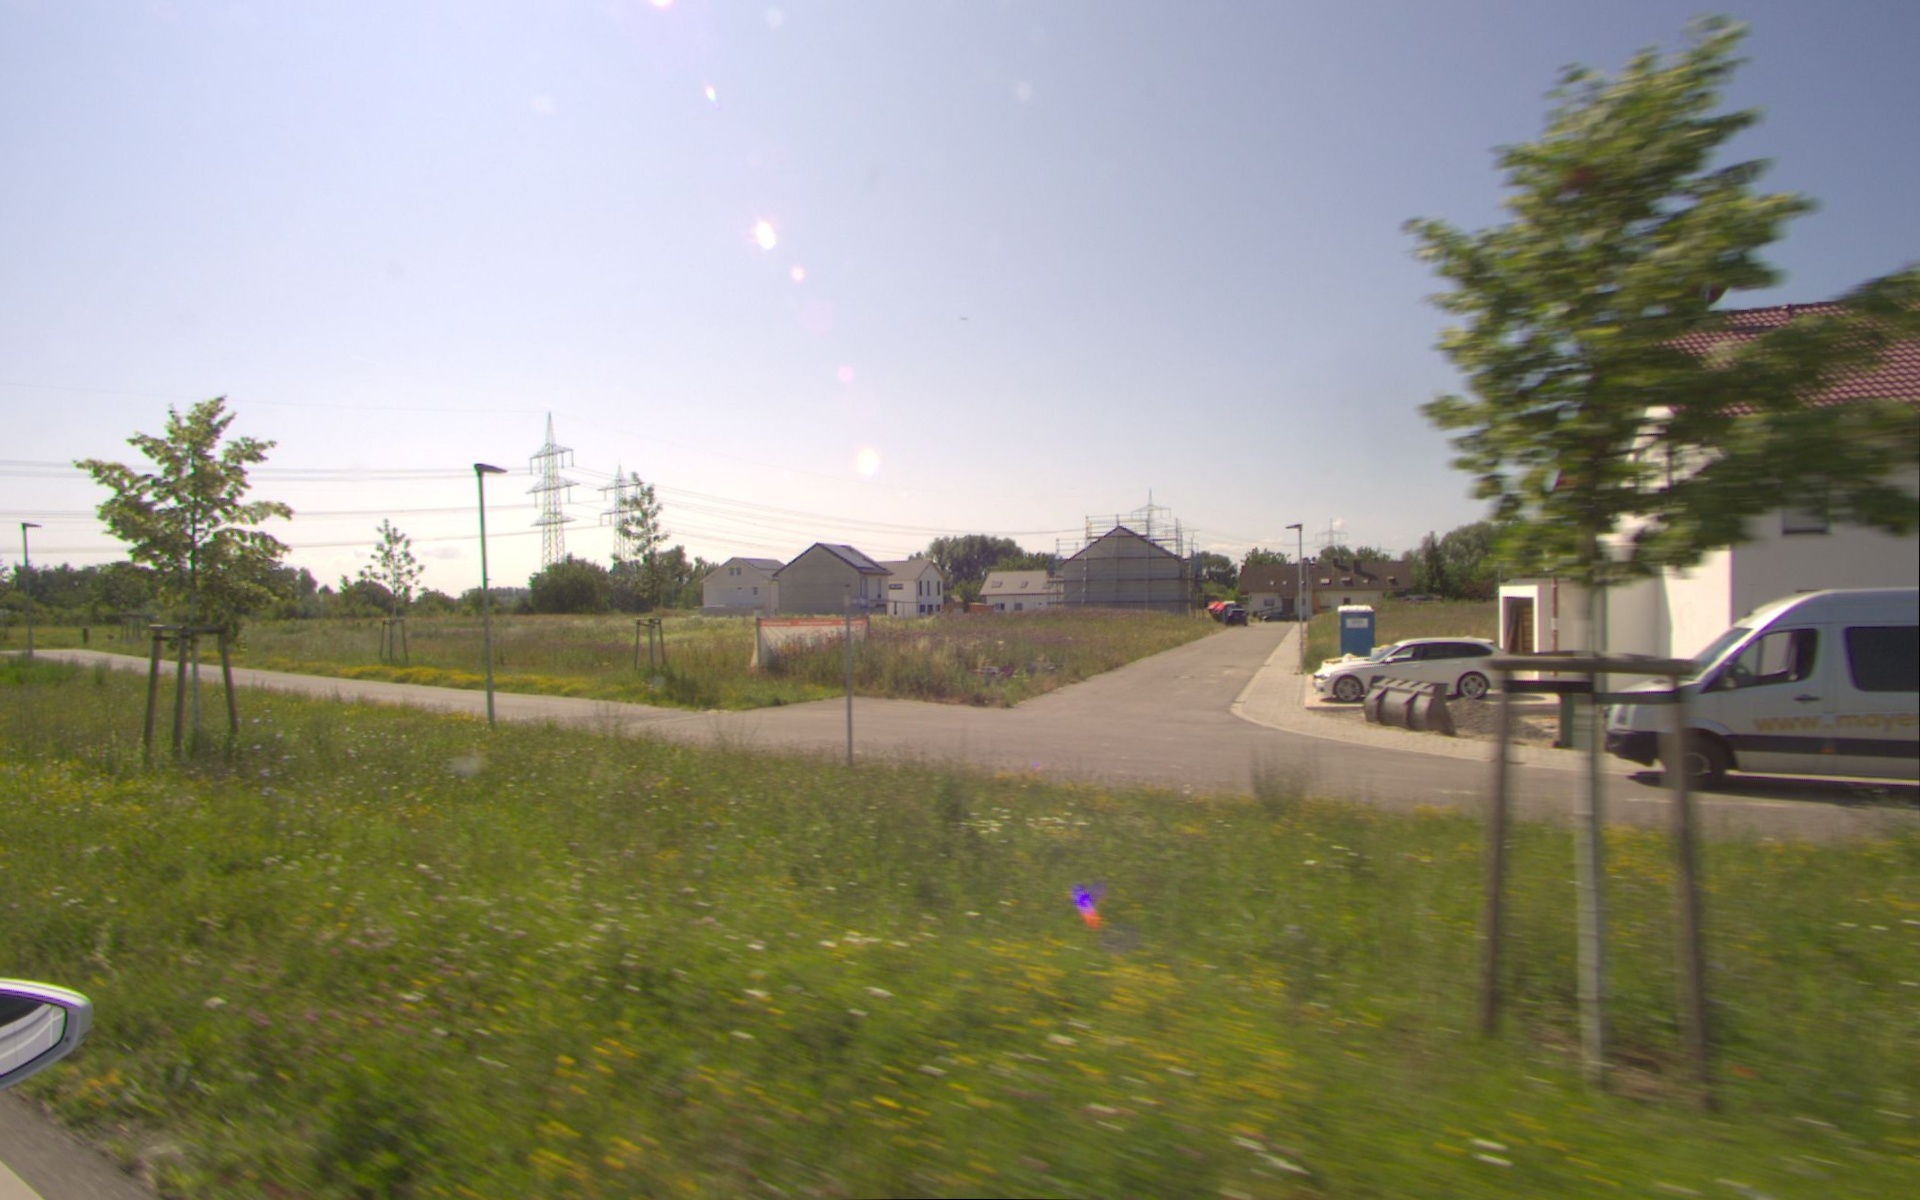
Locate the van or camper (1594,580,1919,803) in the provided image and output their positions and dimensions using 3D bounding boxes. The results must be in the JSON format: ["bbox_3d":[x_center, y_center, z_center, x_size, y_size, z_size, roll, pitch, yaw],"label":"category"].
[{"bbox_3d":[11.703,1.103,12.883,5.946,2.634,2.167,-2,-1,33],"label":"van or camper"}]

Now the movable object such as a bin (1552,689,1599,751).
[{"bbox_3d":[10.417,2.015,16.942,0.630,0.950,0.690,0,0,37],"label":"movable object such as a bin"}]

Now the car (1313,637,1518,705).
[{"bbox_3d":[11.050,1.699,24.615,4.407,1.577,1.562,-1,-2,18],"label":"car"}]

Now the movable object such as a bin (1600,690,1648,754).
[{"bbox_3d":[10.963,1.999,16.530,0.630,0.950,0.690,0,0,37],"label":"movable object such as a bin"}]

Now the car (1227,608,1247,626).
[{"bbox_3d":[26.200,1.618,94.604,1.711,1.539,3.991,-1,1,18],"label":"car"}]
